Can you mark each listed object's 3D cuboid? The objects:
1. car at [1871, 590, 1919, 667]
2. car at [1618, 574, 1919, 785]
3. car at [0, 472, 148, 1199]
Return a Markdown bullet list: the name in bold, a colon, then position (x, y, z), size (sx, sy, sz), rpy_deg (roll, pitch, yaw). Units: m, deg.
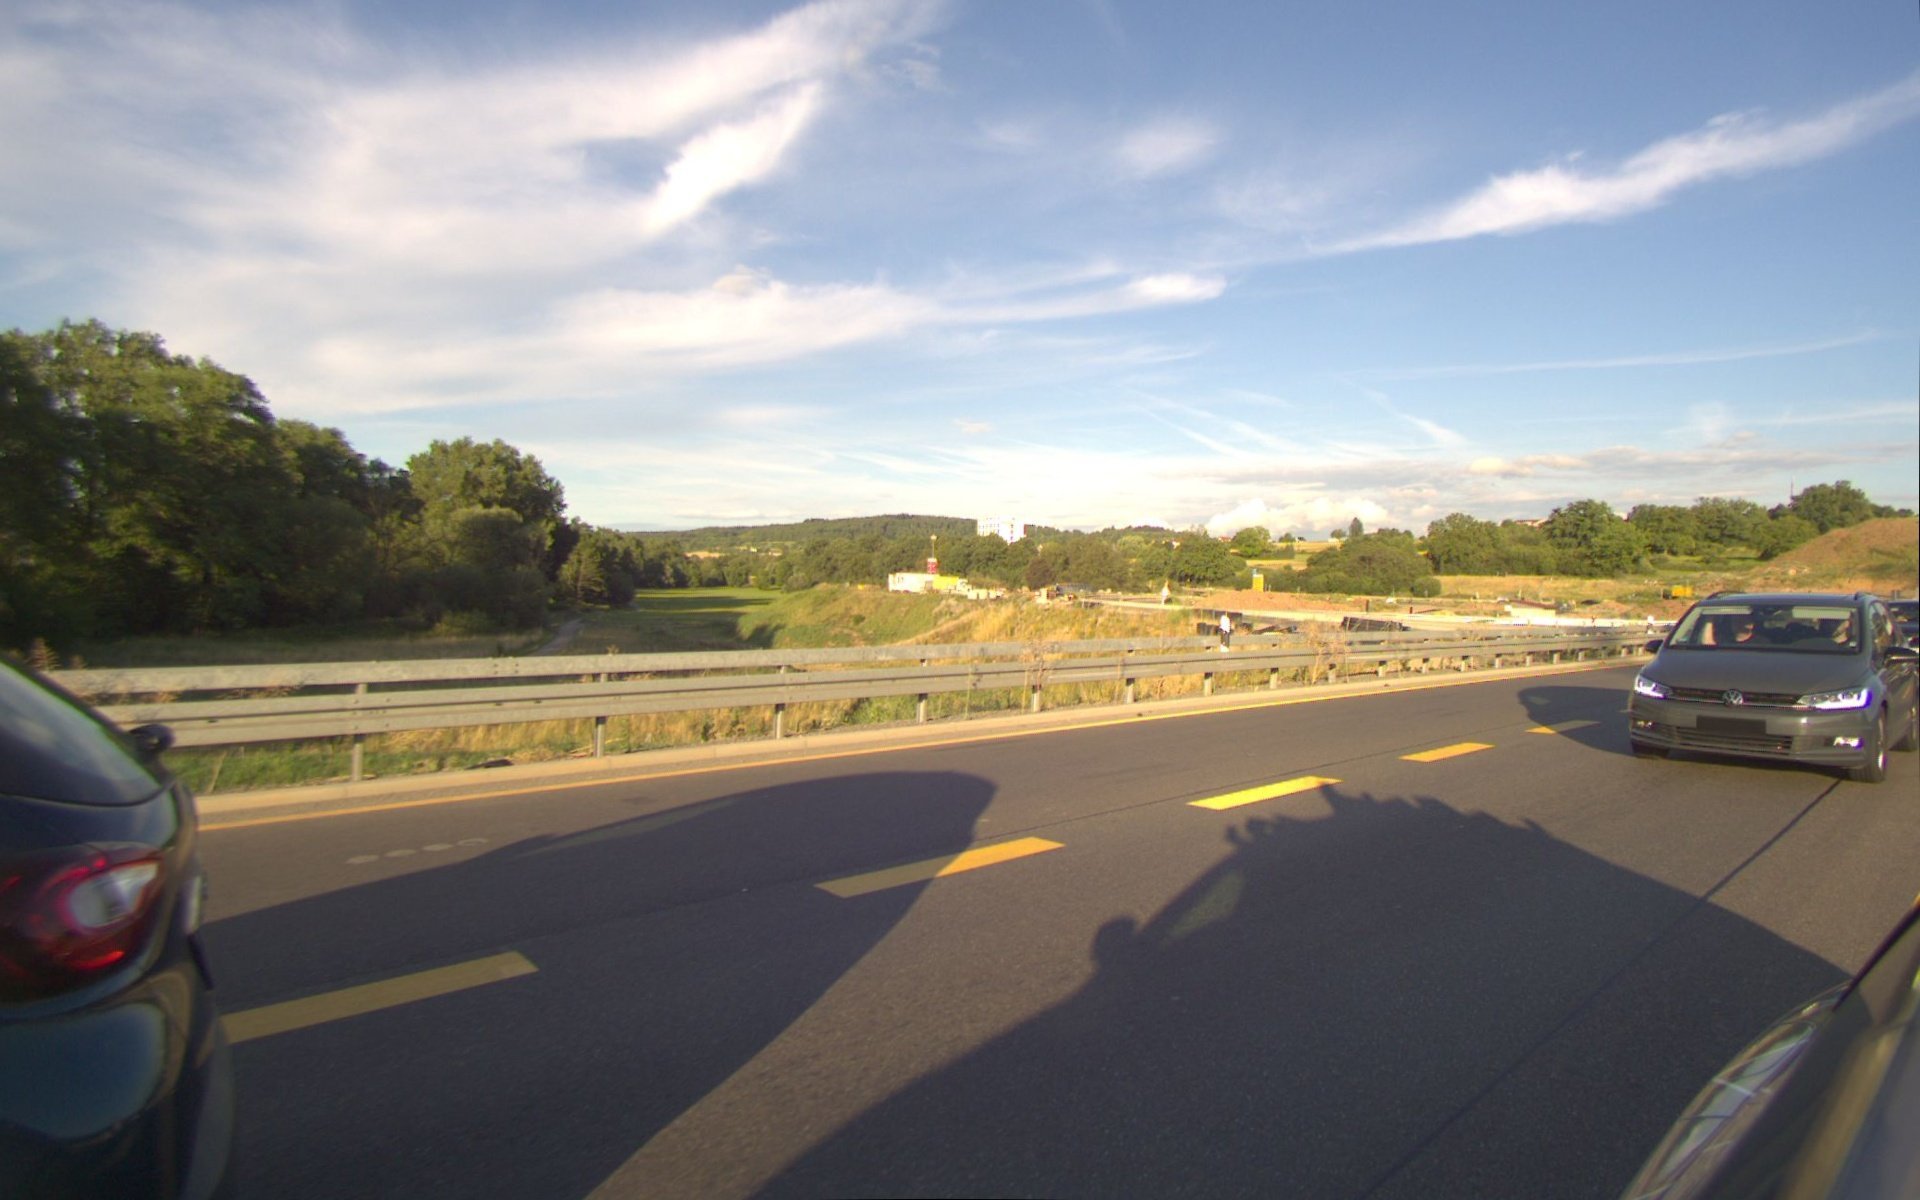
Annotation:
- **car**: position (23.337, 0.651, 24.208), size (4.805, 1.735, 1.899), rpy_deg (0, 0, -43)
- **car**: position (8.250, 0.618, 10.053), size (4.449, 1.636, 1.814), rpy_deg (0, -1, -43)
- **car**: position (-3.202, 0.635, 0.697), size (4.062, 1.606, 1.777), rpy_deg (0, 0, -41)
